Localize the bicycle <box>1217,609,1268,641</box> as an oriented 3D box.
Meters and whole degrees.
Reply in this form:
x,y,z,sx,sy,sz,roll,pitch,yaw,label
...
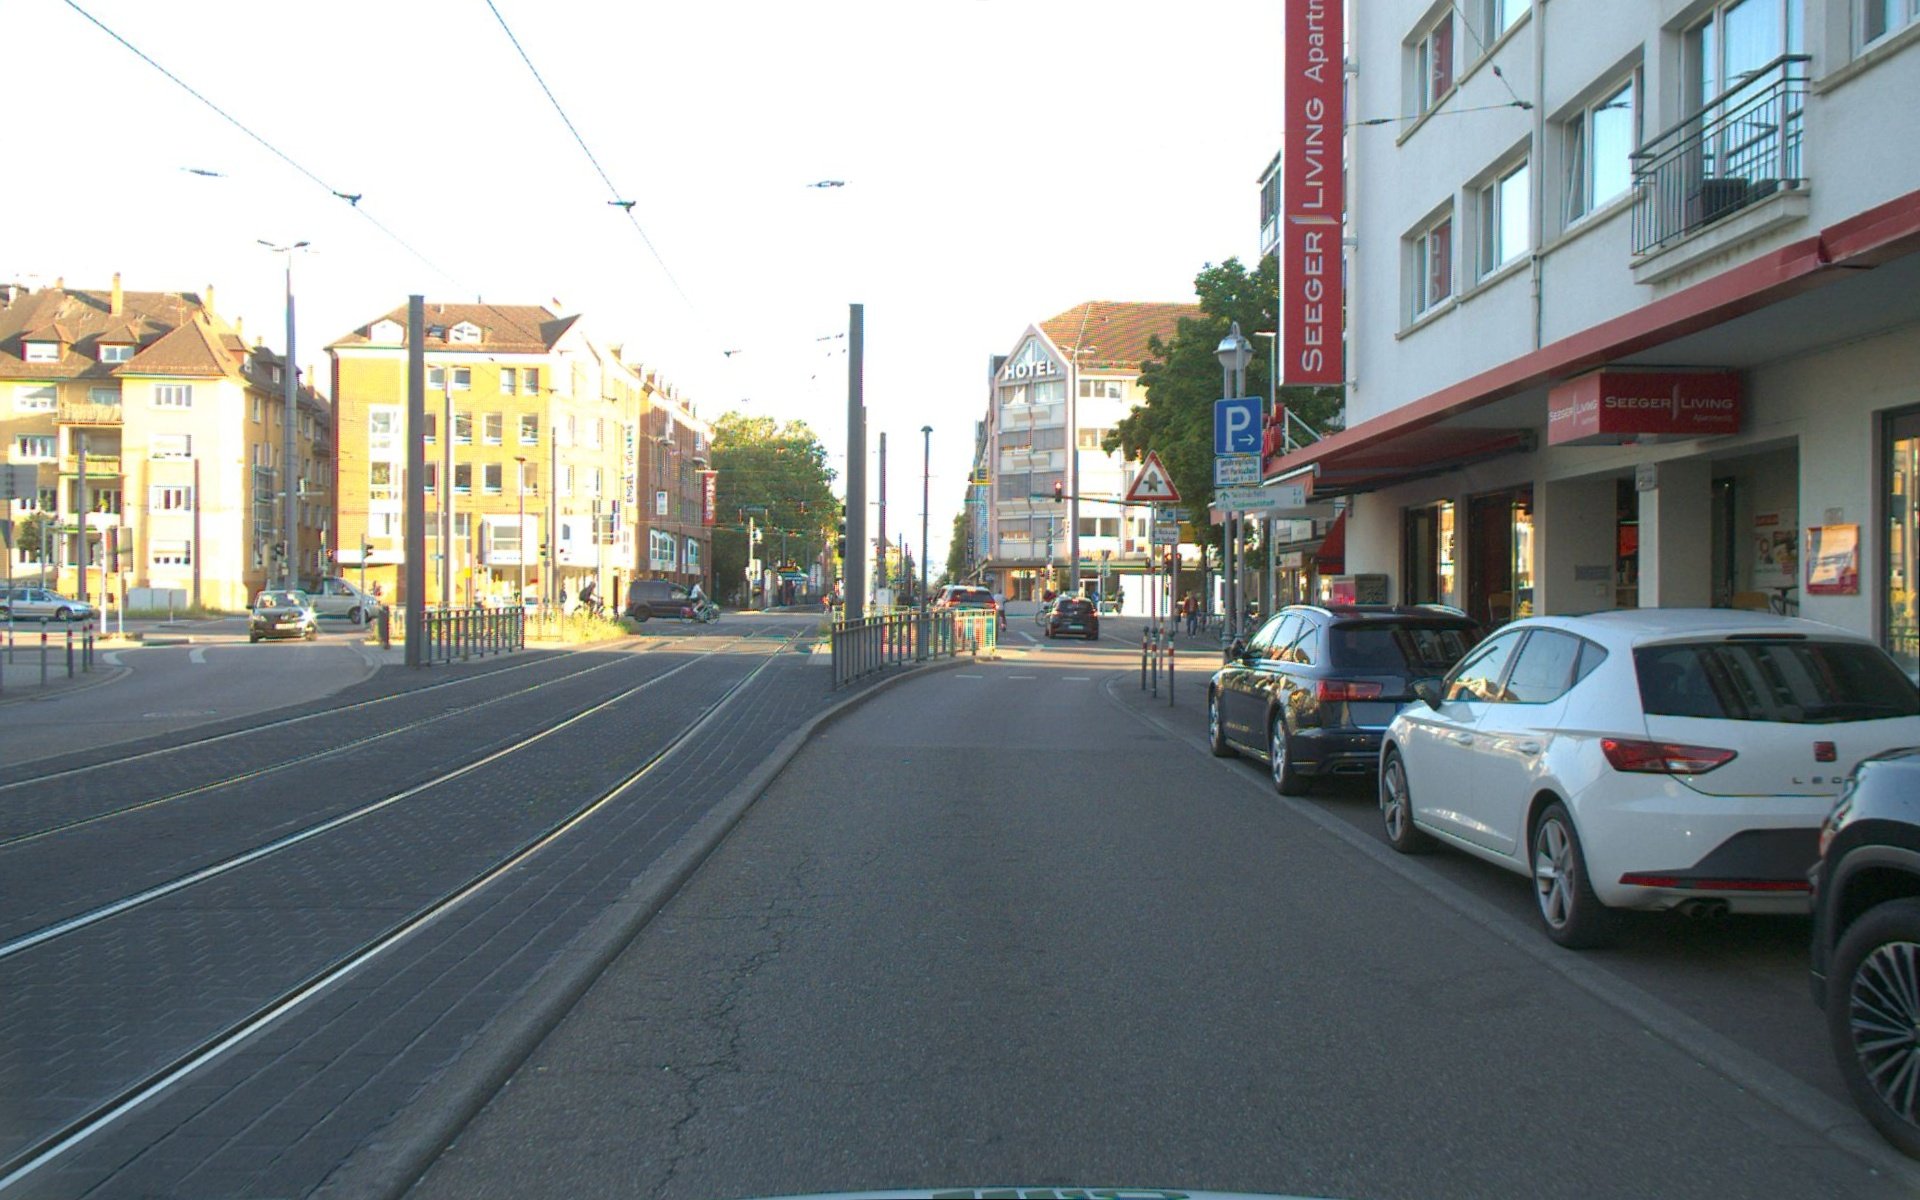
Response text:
x,y,z,sx,sy,sz,roll,pitch,yaw,label
9.287,0.829,54.442,1.622,0.991,0.386,2,0,6,bicycle

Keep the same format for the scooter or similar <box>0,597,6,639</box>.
x,y,z,sx,sy,sz,roll,pitch,yaw,label
-25.696,0.466,43.968,0.420,1.081,1.611,2,0,-25,scooter or similar

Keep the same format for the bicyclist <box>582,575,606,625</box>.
x,y,z,sx,sy,sz,roll,pitch,yaw,label
-15.238,-0.007,68.918,0.848,2.049,0.643,2,-1,-20,bicyclist

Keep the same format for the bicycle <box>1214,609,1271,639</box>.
x,y,z,sx,sy,sz,roll,pitch,yaw,label
9.118,0.776,53.476,1.779,0.907,0.415,2,0,6,bicycle

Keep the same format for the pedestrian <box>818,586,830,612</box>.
x,y,z,sx,sy,sz,roll,pitch,yaw,label
-9.690,-0.088,117.915,0.789,1.855,0.703,2,0,-1,pedestrian

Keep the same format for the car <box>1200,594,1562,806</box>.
x,y,z,sx,sy,sz,roll,pitch,yaw,label
3.306,0.710,13.983,1.753,1.437,4.686,2,0,-1,car

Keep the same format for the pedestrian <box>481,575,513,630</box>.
x,y,z,sx,sy,sz,roll,pitch,yaw,label
-11.958,0.066,42.713,0.650,1.399,0.651,1,0,-3,pedestrian

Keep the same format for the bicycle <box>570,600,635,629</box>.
x,y,z,sx,sy,sz,roll,pitch,yaw,label
-14.939,0.598,69.090,2.602,1.119,0.433,2,-1,-21,bicycle

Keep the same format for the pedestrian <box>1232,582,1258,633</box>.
x,y,z,sx,sy,sz,roll,pitch,yaw,label
10.372,0.264,60.271,0.731,1.809,0.973,2,-1,0,pedestrian

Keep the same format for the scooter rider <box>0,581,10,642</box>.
x,y,z,sx,sy,sz,roll,pitch,yaw,label
-25.893,0.292,44.347,0.576,1.621,0.653,2,-1,-22,scooter rider

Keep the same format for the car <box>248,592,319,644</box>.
x,y,z,sx,sy,sz,roll,pitch,yaw,label
-19.106,0.470,46.652,1.744,1.400,4.191,0,0,-24,car

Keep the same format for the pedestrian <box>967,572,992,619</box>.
x,y,z,sx,sy,sz,roll,pitch,yaw,label
0.794,-0.168,67.270,0.974,1.862,0.729,2,0,0,pedestrian

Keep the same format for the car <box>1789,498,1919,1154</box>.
x,y,z,sx,sy,sz,roll,pitch,yaw,label
3.487,0.619,2.833,1.818,1.730,4.417,2,0,-1,car

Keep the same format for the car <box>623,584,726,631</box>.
x,y,z,sx,sy,sz,roll,pitch,yaw,label
-12.891,0.317,74.627,4.481,2.072,1.993,0,0,-13,car

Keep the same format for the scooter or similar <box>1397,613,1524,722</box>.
x,y,z,sx,sy,sz,roll,pitch,yaw,label
5.812,0.764,19.239,1.413,1.215,0.333,0,0,43,scooter or similar

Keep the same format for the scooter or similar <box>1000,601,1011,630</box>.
x,y,z,sx,sy,sz,roll,pitch,yaw,label
1.744,0.593,63.359,0.273,1.110,1.258,2,0,6,scooter or similar

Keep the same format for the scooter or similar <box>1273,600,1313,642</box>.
x,y,z,sx,sy,sz,roll,pitch,yaw,label
9.824,0.620,48.865,0.292,1.239,1.201,2,-2,-44,scooter or similar

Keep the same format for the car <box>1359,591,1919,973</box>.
x,y,z,sx,sy,sz,roll,pitch,yaw,label
3.410,0.721,8.521,1.617,1.445,4.190,2,0,-1,car

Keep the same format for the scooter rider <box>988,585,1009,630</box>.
x,y,z,sx,sy,sz,roll,pitch,yaw,label
1.474,0.285,63.239,0.648,1.676,0.661,2,0,7,scooter rider

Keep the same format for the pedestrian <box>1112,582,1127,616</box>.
x,y,z,sx,sy,sz,roll,pitch,yaw,label
8.650,-0.034,89.749,0.731,1.809,0.800,2,-1,1,pedestrian

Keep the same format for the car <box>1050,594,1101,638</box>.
x,y,z,sx,sy,sz,roll,pitch,yaw,label
4.037,0.531,58.189,1.727,1.465,4.002,0,1,3,car

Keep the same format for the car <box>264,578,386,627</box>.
x,y,z,sx,sy,sz,roll,pitch,yaw,label
-27.092,0.094,70.718,4.602,2.049,1.994,0,0,-13,car

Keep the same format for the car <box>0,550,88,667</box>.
x,y,z,sx,sy,sz,roll,pitch,yaw,label
-18.029,0.148,29.630,3.923,2.049,1.991,0,0,-17,car

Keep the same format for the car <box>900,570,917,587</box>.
x,y,z,sx,sy,sz,roll,pitch,yaw,label
-6.398,-2.685,204.816,1.953,1.934,4.000,2,0,0,car

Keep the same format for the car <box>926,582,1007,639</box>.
x,y,z,sx,sy,sz,roll,pitch,yaw,label
0.153,0.304,50.820,1.802,1.665,4.080,1,0,-10,car

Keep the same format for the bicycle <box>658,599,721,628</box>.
x,y,z,sx,sy,sz,roll,pitch,yaw,label
-11.500,0.581,70.360,2.602,1.119,0.433,2,-1,-21,bicycle

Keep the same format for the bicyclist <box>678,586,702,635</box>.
x,y,z,sx,sy,sz,roll,pitch,yaw,label
-11.512,0.434,70.446,0.848,2.049,0.642,2,-1,-22,bicyclist

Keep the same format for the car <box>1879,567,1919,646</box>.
x,y,z,sx,sy,sz,roll,pitch,yaw,label
23.736,0.162,38.017,4.334,1.781,1.920,1,2,22,car

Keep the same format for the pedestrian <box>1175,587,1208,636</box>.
x,y,z,sx,sy,sz,roll,pitch,yaw,label
8.237,0.415,58.820,0.809,1.714,1.045,2,0,-12,pedestrian

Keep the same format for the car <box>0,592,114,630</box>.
x,y,z,sx,sy,sz,roll,pitch,yaw,label
-39.738,0.482,72.467,4.257,1.578,1.996,1,0,-9,car

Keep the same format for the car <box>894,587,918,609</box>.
x,y,z,sx,sy,sz,roll,pitch,yaw,label
-4.486,-0.172,138.614,1.774,1.777,3.715,2,0,0,car
